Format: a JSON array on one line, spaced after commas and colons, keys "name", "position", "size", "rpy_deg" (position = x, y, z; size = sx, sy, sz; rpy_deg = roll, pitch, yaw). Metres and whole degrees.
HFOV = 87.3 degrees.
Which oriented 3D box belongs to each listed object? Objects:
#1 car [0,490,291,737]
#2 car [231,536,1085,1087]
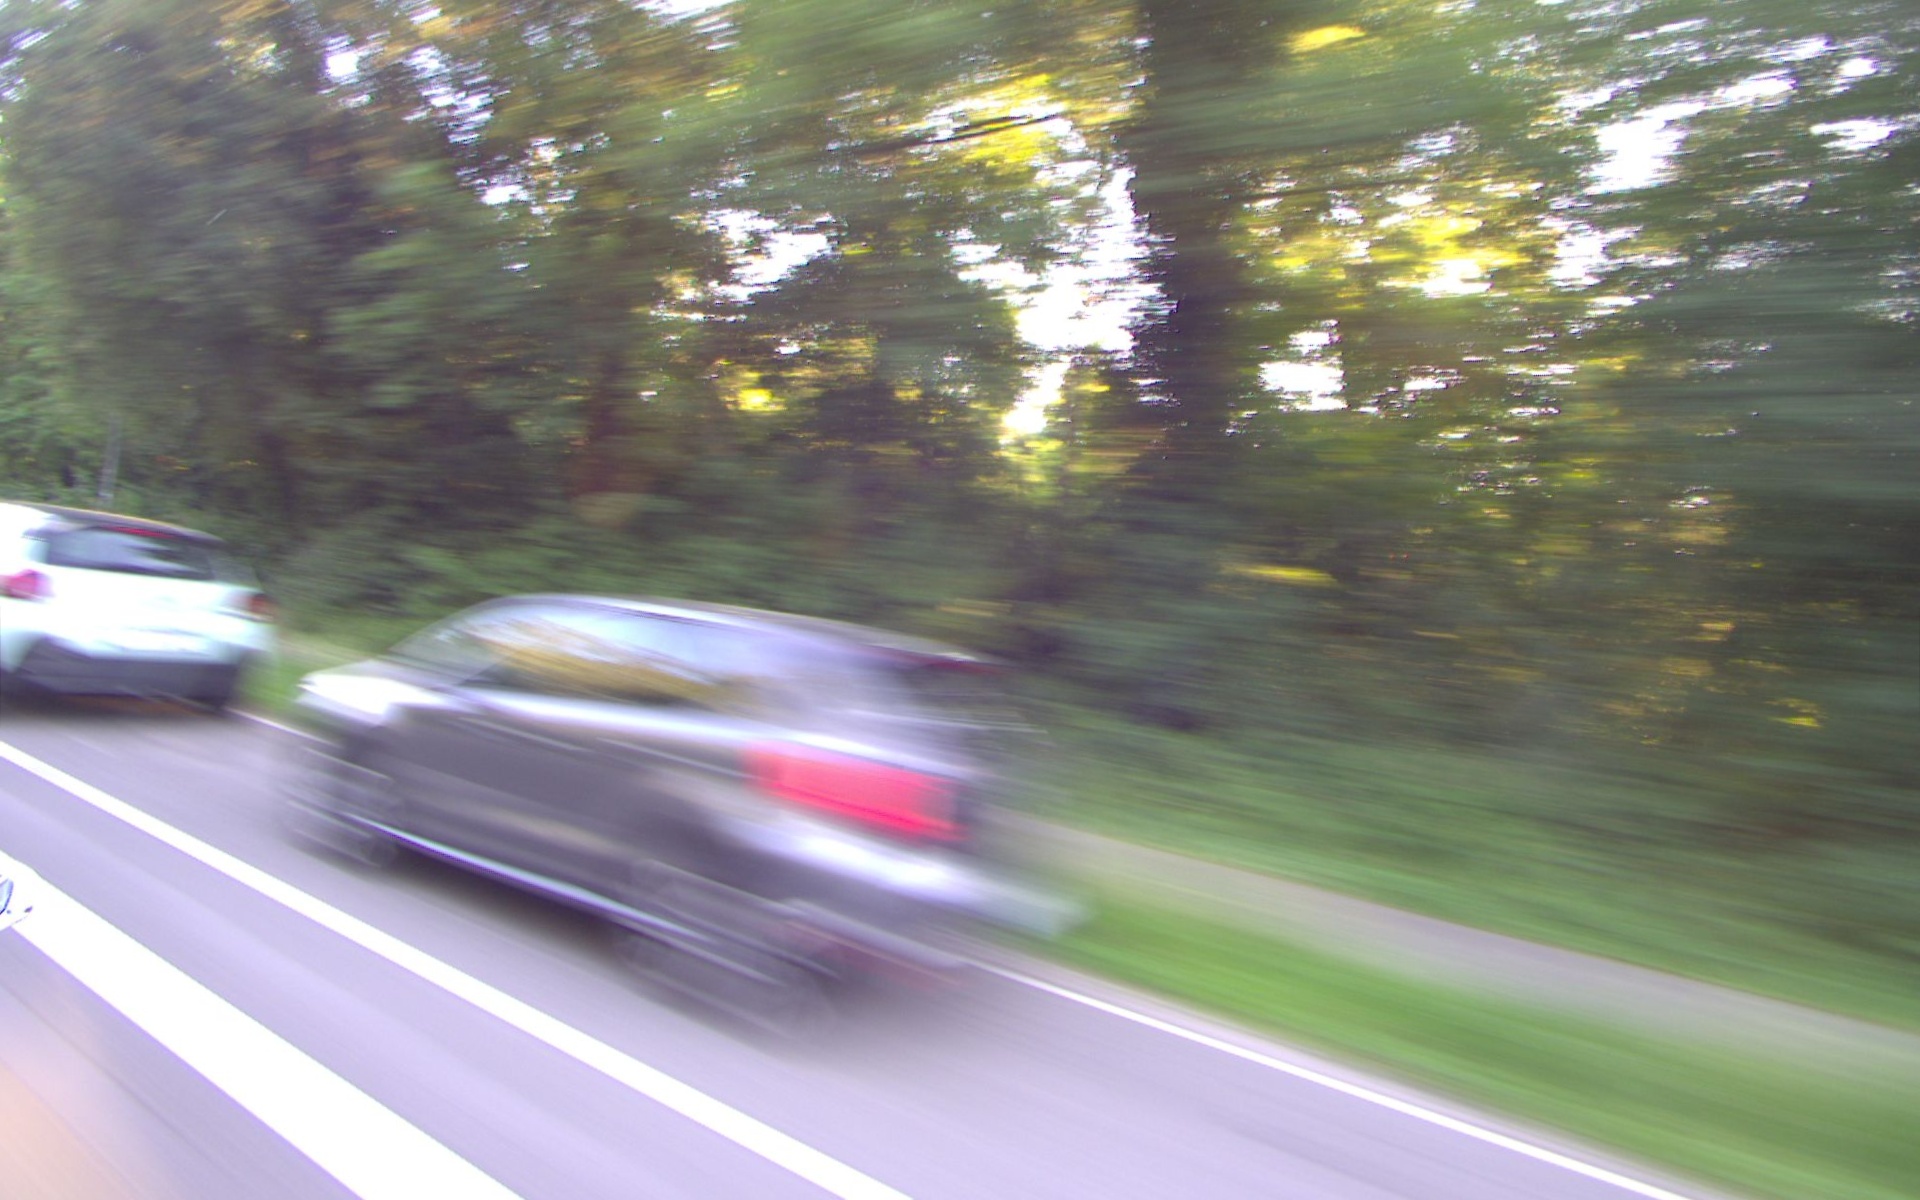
[{"name": "car", "position": [-7.371, -0.051, 8.102], "size": [4.044, 1.565, 1.690], "rpy_deg": [7, 0, 32]}, {"name": "car", "position": [-1.581, 0.656, 4.815], "size": [3.894, 1.464, 1.581], "rpy_deg": [7, 0, 31]}]
